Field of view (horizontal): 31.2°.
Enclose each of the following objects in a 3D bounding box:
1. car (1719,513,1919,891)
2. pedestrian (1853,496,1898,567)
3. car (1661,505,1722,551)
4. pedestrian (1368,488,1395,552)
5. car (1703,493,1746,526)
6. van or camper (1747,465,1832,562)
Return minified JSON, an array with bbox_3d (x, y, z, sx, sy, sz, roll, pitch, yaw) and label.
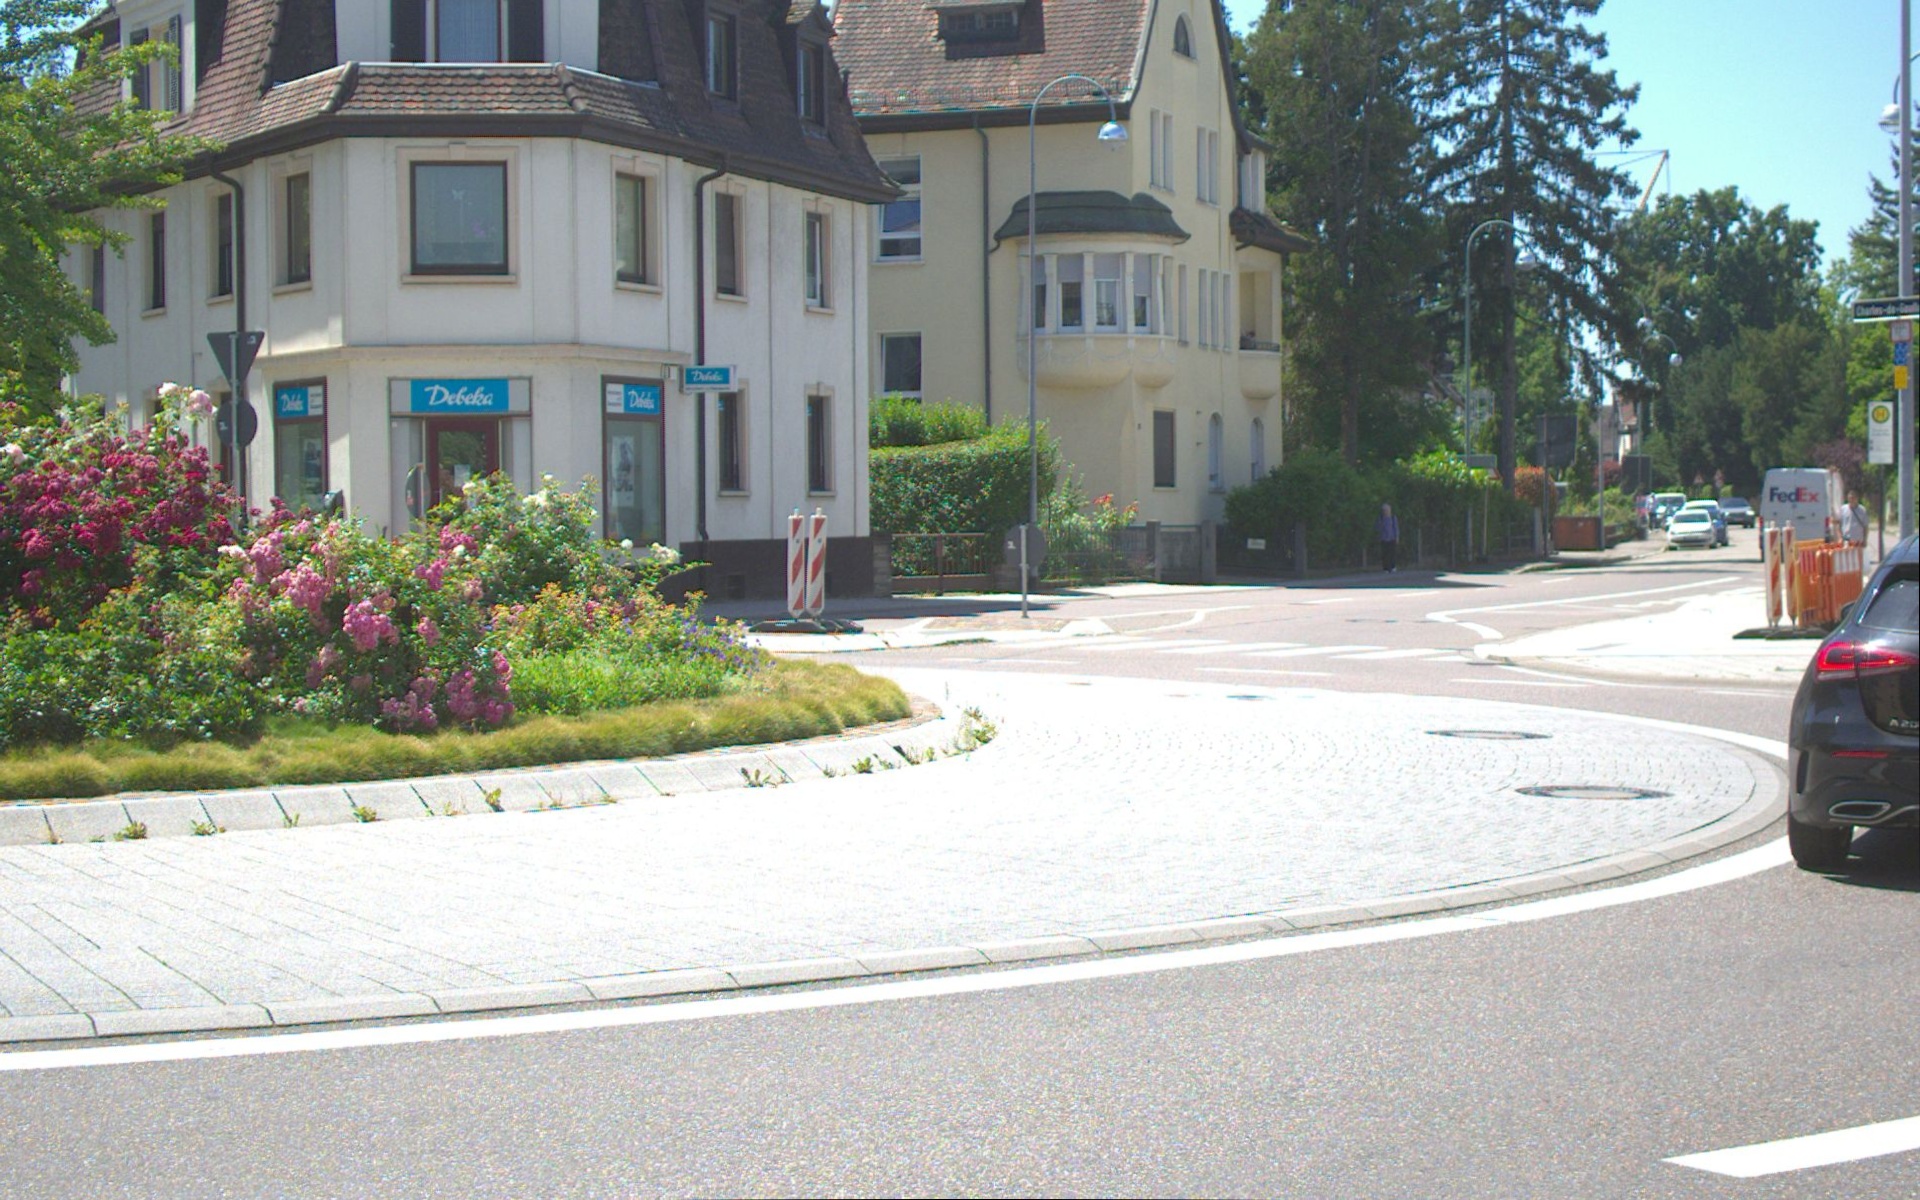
[{"bbox_3d":[4.745,0.375,15.209,1.956,1.422,3.995,2,3,23],"label":"car"},{"bbox_3d":[17.083,-1.282,64.151,0.667,1.281,0.586,-3,1,24],"label":"pedestrian"},{"bbox_3d":[27.037,-2.663,127.044,1.995,1.645,3.997,1,1,15],"label":"car"},{"bbox_3d":[9.904,-1.875,80.706,0.523,1.504,0.473,1,1,22],"label":"pedestrian"},{"bbox_3d":[40.047,-4.754,180.046,1.995,1.711,3.997,1,1,15],"label":"car"},{"bbox_3d":[22.860,-2.391,94.684,2.207,2.601,3.998,1,1,14],"label":"van or camper"}]
